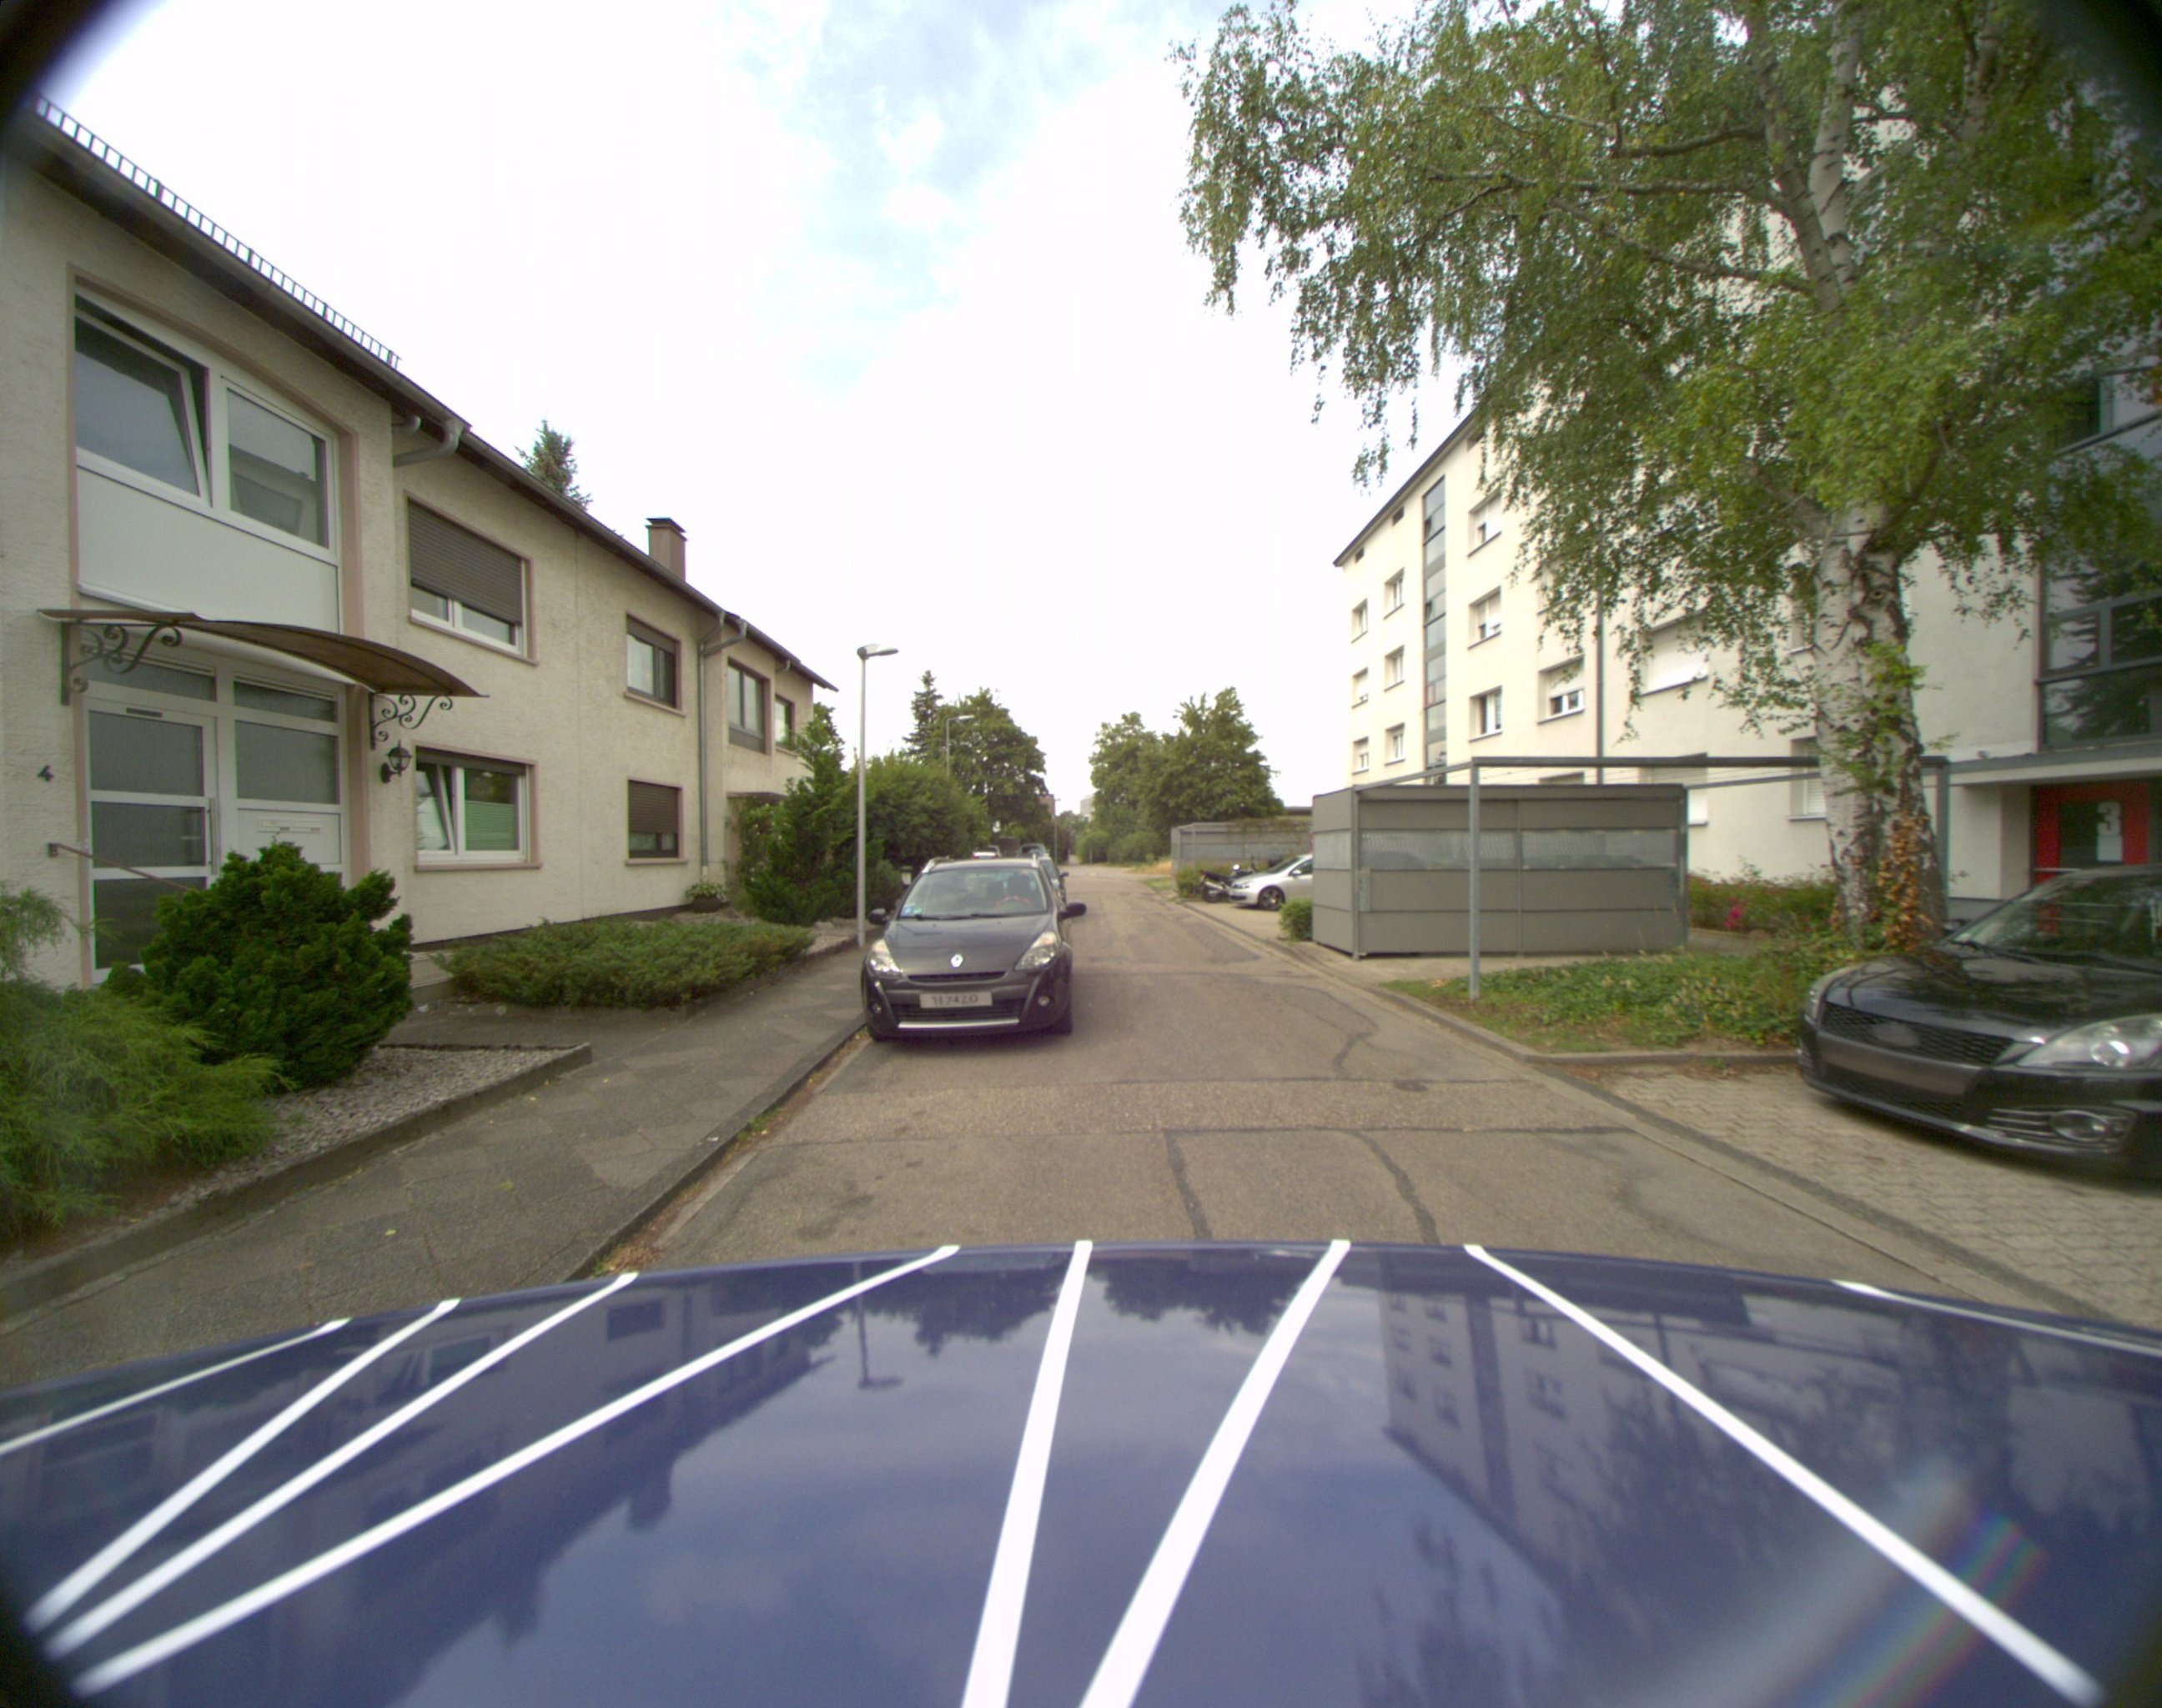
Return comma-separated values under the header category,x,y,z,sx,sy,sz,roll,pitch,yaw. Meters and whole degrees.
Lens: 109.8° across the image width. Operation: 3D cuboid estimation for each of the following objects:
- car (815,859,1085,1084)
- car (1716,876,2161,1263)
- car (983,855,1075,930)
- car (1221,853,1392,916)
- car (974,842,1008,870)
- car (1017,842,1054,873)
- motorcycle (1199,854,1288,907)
category,x,y,z,sx,sy,sz,roll,pitch,yaw
car,-1.005,0.829,7.402,1.834,1.449,4.188,-2,1,-3
car,6.103,0.905,3.986,4.062,1.496,1.781,0,1,-1
car,-1.165,0.785,17.678,1.834,1.449,4.188,-2,1,-3
car,5.937,0.787,20.356,3.997,1.477,1.902,2,1,1
car,-5.117,0.100,43.747,1.705,1.458,3.997,0,2,-3
car,-2.573,0.162,43.169,1.926,1.576,3.998,-2,1,-3
motorcycle,4.694,0.758,22.010,2.383,1.456,0.714,1,1,-1
